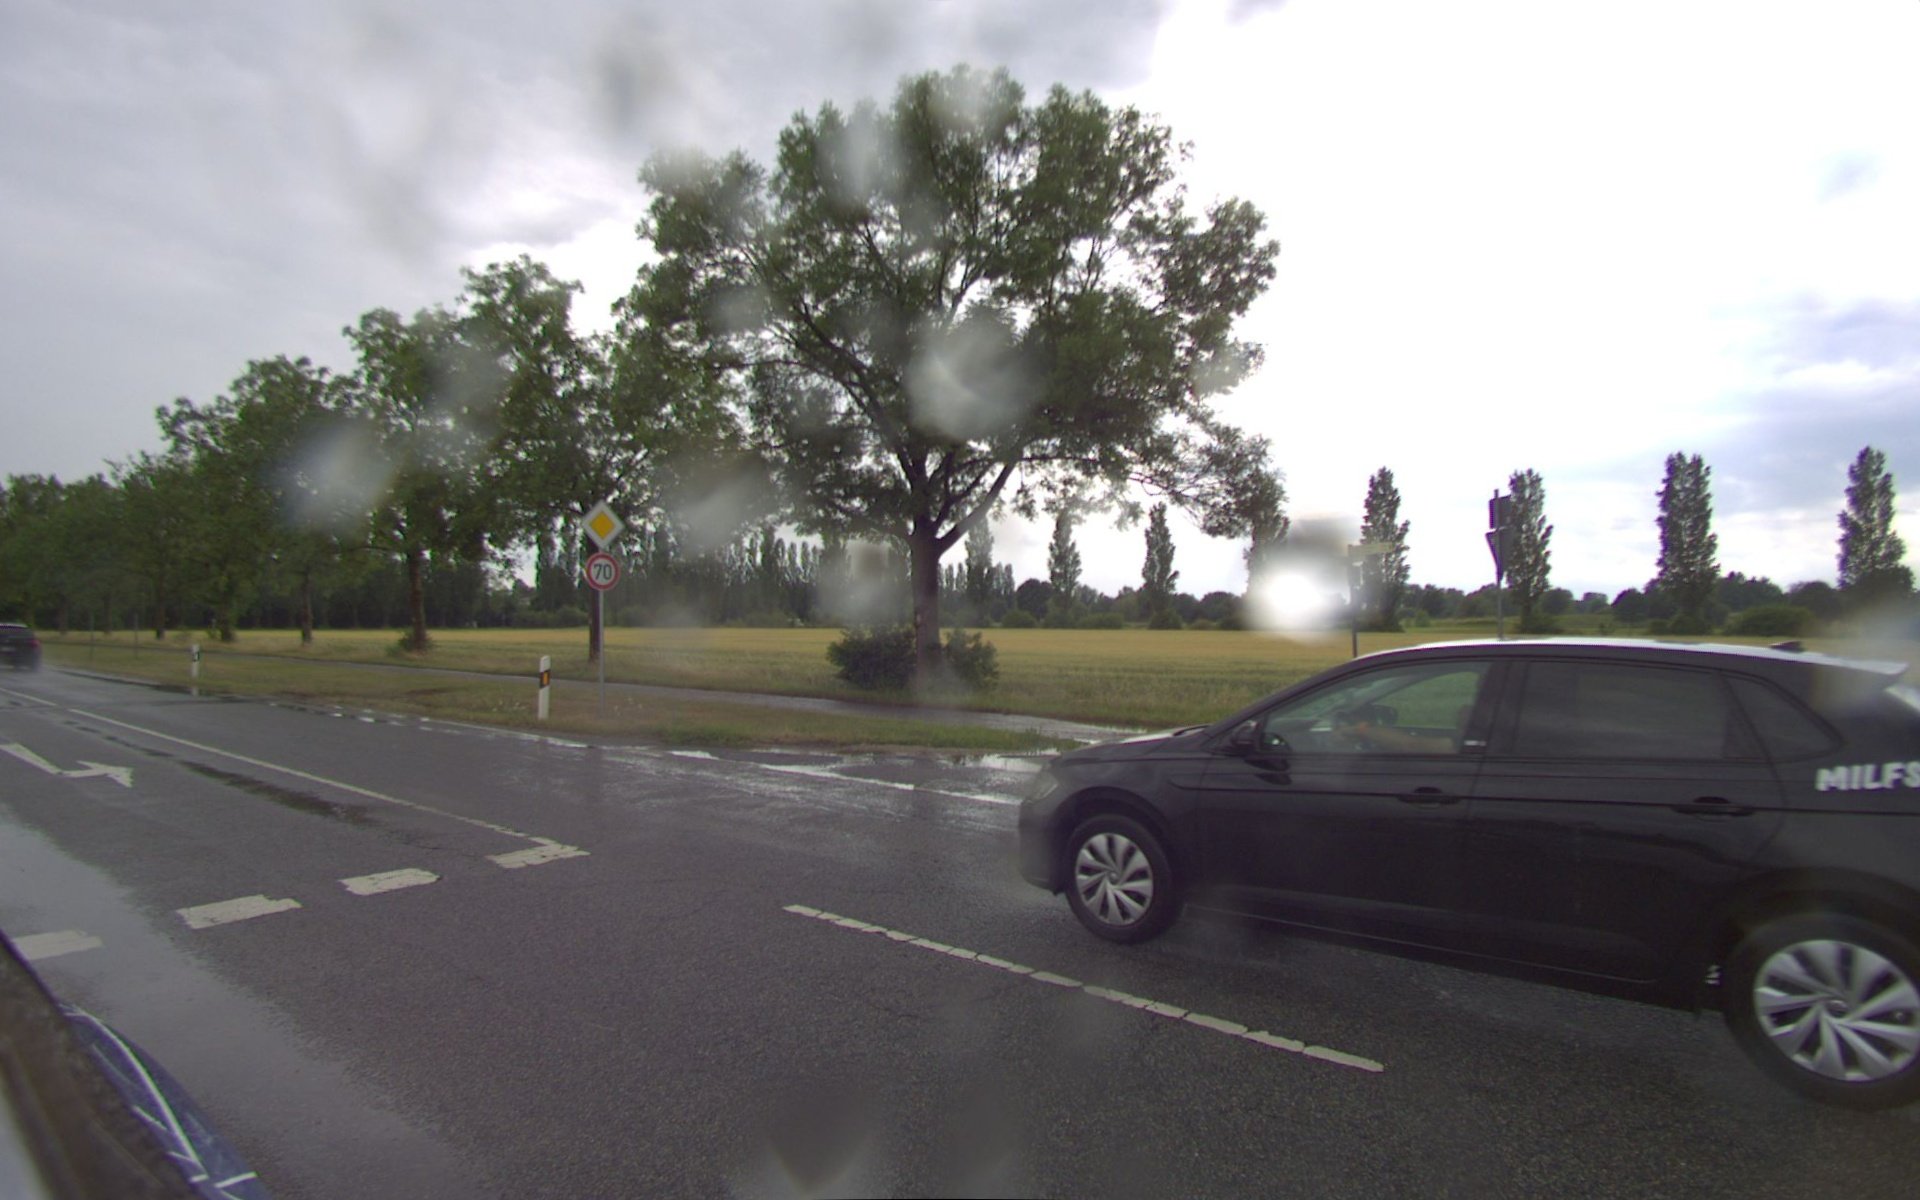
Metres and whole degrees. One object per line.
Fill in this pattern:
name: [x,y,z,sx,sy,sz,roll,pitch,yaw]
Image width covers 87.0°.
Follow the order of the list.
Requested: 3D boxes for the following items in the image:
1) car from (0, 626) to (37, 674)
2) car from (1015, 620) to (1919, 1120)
car: [-30.324,1.525,31.445,4.408,1.449,1.748,-1,-3,39]
car: [2.278,0.829,4.357,3.809,1.416,1.695,-1,-4,39]
